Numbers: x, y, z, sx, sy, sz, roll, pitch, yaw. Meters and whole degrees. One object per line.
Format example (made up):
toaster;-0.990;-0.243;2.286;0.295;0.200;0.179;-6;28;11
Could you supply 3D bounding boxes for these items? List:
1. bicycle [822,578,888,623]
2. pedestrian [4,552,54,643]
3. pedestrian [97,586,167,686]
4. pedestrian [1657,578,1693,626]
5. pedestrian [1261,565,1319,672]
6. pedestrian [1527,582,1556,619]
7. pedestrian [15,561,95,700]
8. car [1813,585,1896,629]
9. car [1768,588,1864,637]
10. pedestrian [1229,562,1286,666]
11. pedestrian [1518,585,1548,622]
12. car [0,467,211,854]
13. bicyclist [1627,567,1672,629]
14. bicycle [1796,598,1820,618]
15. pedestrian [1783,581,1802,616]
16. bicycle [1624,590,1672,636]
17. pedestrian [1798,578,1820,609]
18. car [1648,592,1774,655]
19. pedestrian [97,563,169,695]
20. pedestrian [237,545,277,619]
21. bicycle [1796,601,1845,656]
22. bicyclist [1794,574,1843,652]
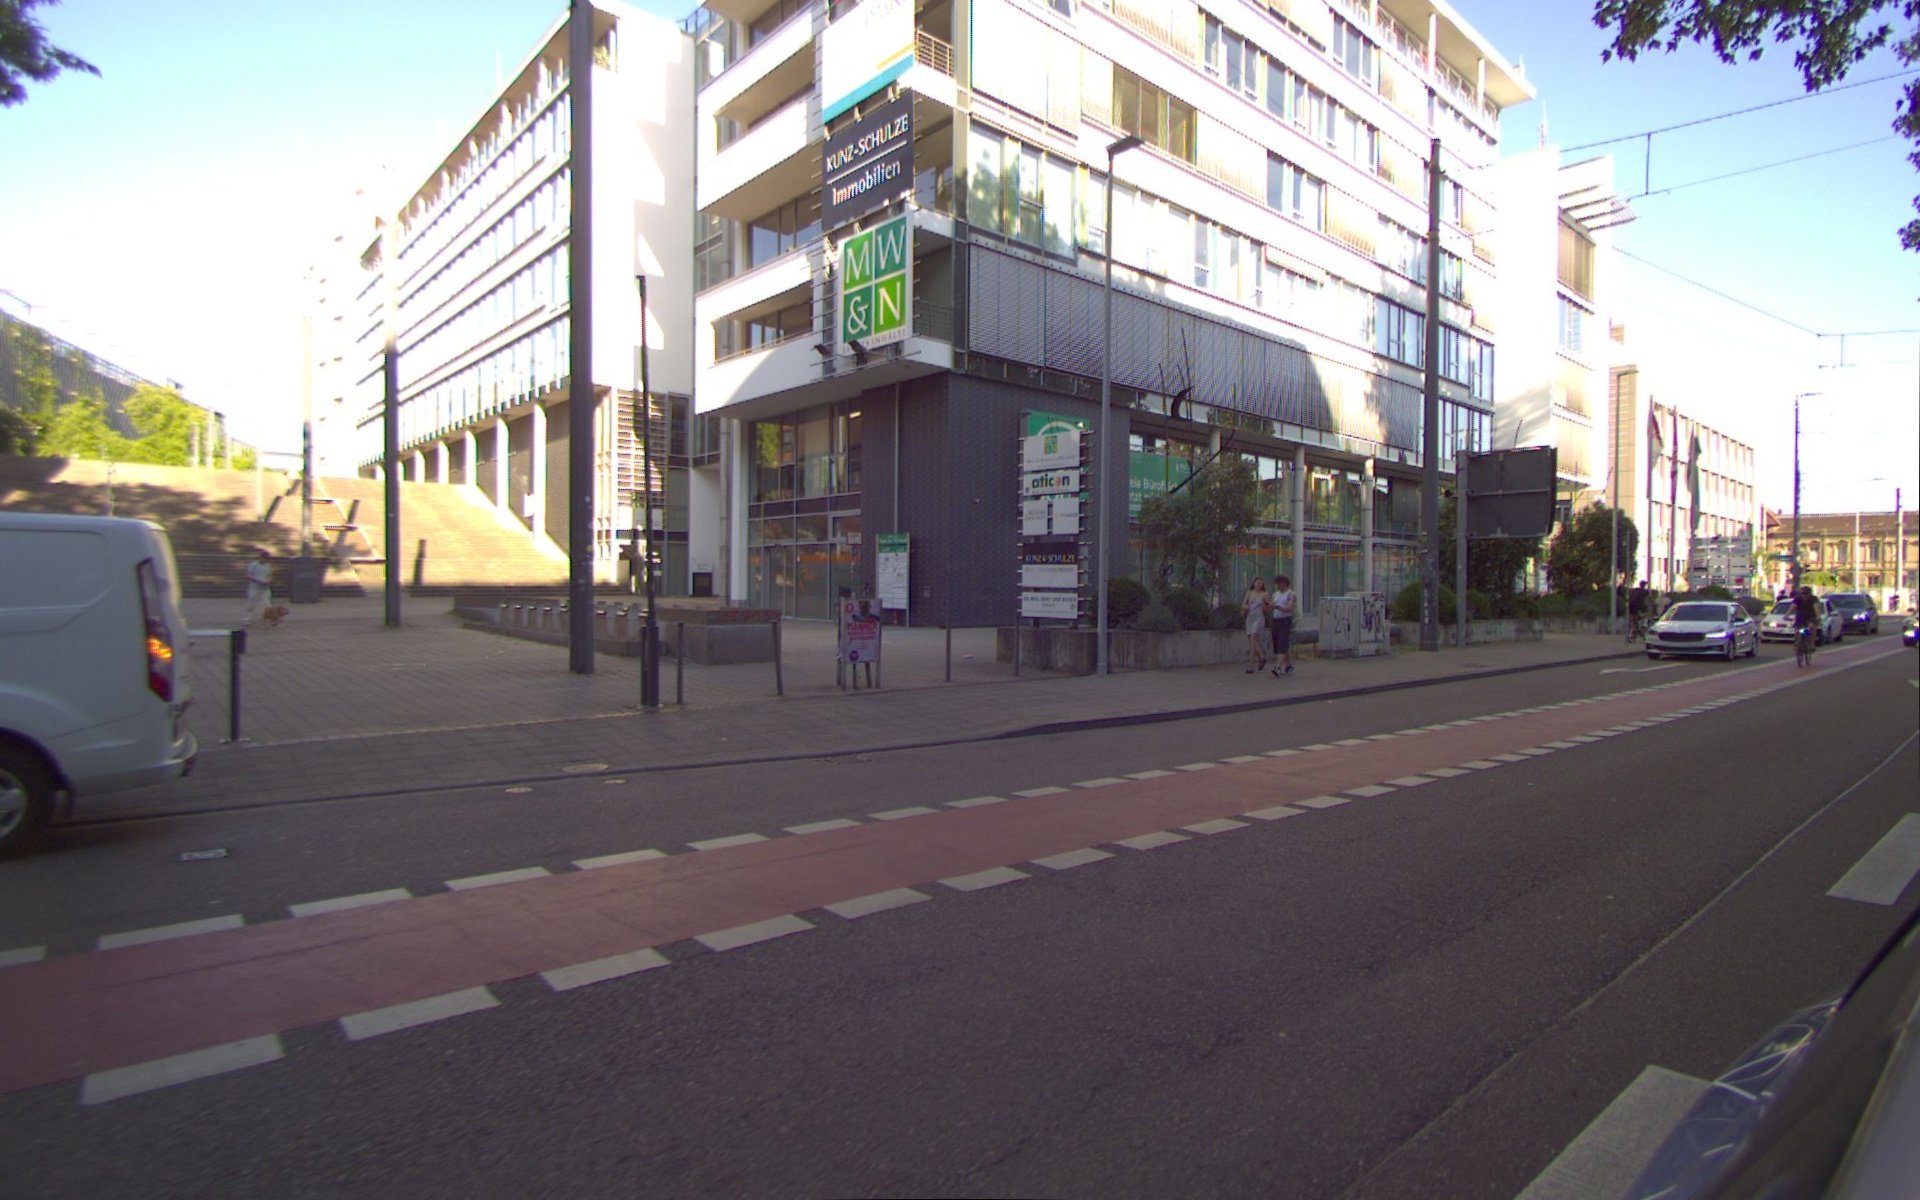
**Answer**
bicycle;-2.687;0.003;25.776;0.688;1.077;1.877;0;2;-42
pedestrian;-15.484;-0.050;16.848;0.590;1.474;0.712;0;1;-41
pedestrian;-10.632;0.442;13.013;0.665;1.236;0.615;0;1;-37
pedestrian;24.090;0.067;34.098;0.895;1.594;0.753;0;1;-38
pedestrian;5.825;0.300;17.862;0.876;1.831;0.564;0;1;-41
pedestrian;20.819;0.008;36.238;0.535;1.288;0.783;0;1;-45
pedestrian;-10.508;0.332;11.769;0.625;1.562;0.578;0;1;-34
car;35.163;0.224;39.752;3.931;1.616;1.997;-1;1;-41
car;28.111;0.367;33.219;3.798;1.482;1.671;0;1;-38
pedestrian;5.385;0.241;18.298;0.880;1.831;0.591;0;1;-41
pedestrian;20.282;0.128;35.811;0.682;1.288;0.750;0;1;-45
car;-7.291;0.324;5.445;5.194;2.160;2.128;0;1;-39
bicyclist;20.685;-0.078;30.360;1.188;1.784;0.743;0;4;-41
bicycle;38.627;0.345;46.096;1.870;0.856;0.499;-1;5;-41
pedestrian;38.207;-0.072;46.444;0.579;1.601;0.527;0;3;-40
bicycle;20.668;0.383;30.377;1.894;1.291;0.665;-1;4;-41
pedestrian;44.883;-0.330;53.512;0.652;1.601;0.693;0;3;-40
car;19.025;0.531;25.589;3.952;1.437;1.784;-1;2;-42
pedestrian;-9.956;0.333;12.203;0.623;1.542;0.517;0;1;-34
pedestrian;-16.392;-0.421;23.604;0.710;1.697;0.539;0;1;-41
bicycle;19.262;0.613;22.638;2.090;1.135;0.550;0;1;-42
bicyclist;19.255;0.270;22.700;0.702;1.709;0.751;0;1;-42
